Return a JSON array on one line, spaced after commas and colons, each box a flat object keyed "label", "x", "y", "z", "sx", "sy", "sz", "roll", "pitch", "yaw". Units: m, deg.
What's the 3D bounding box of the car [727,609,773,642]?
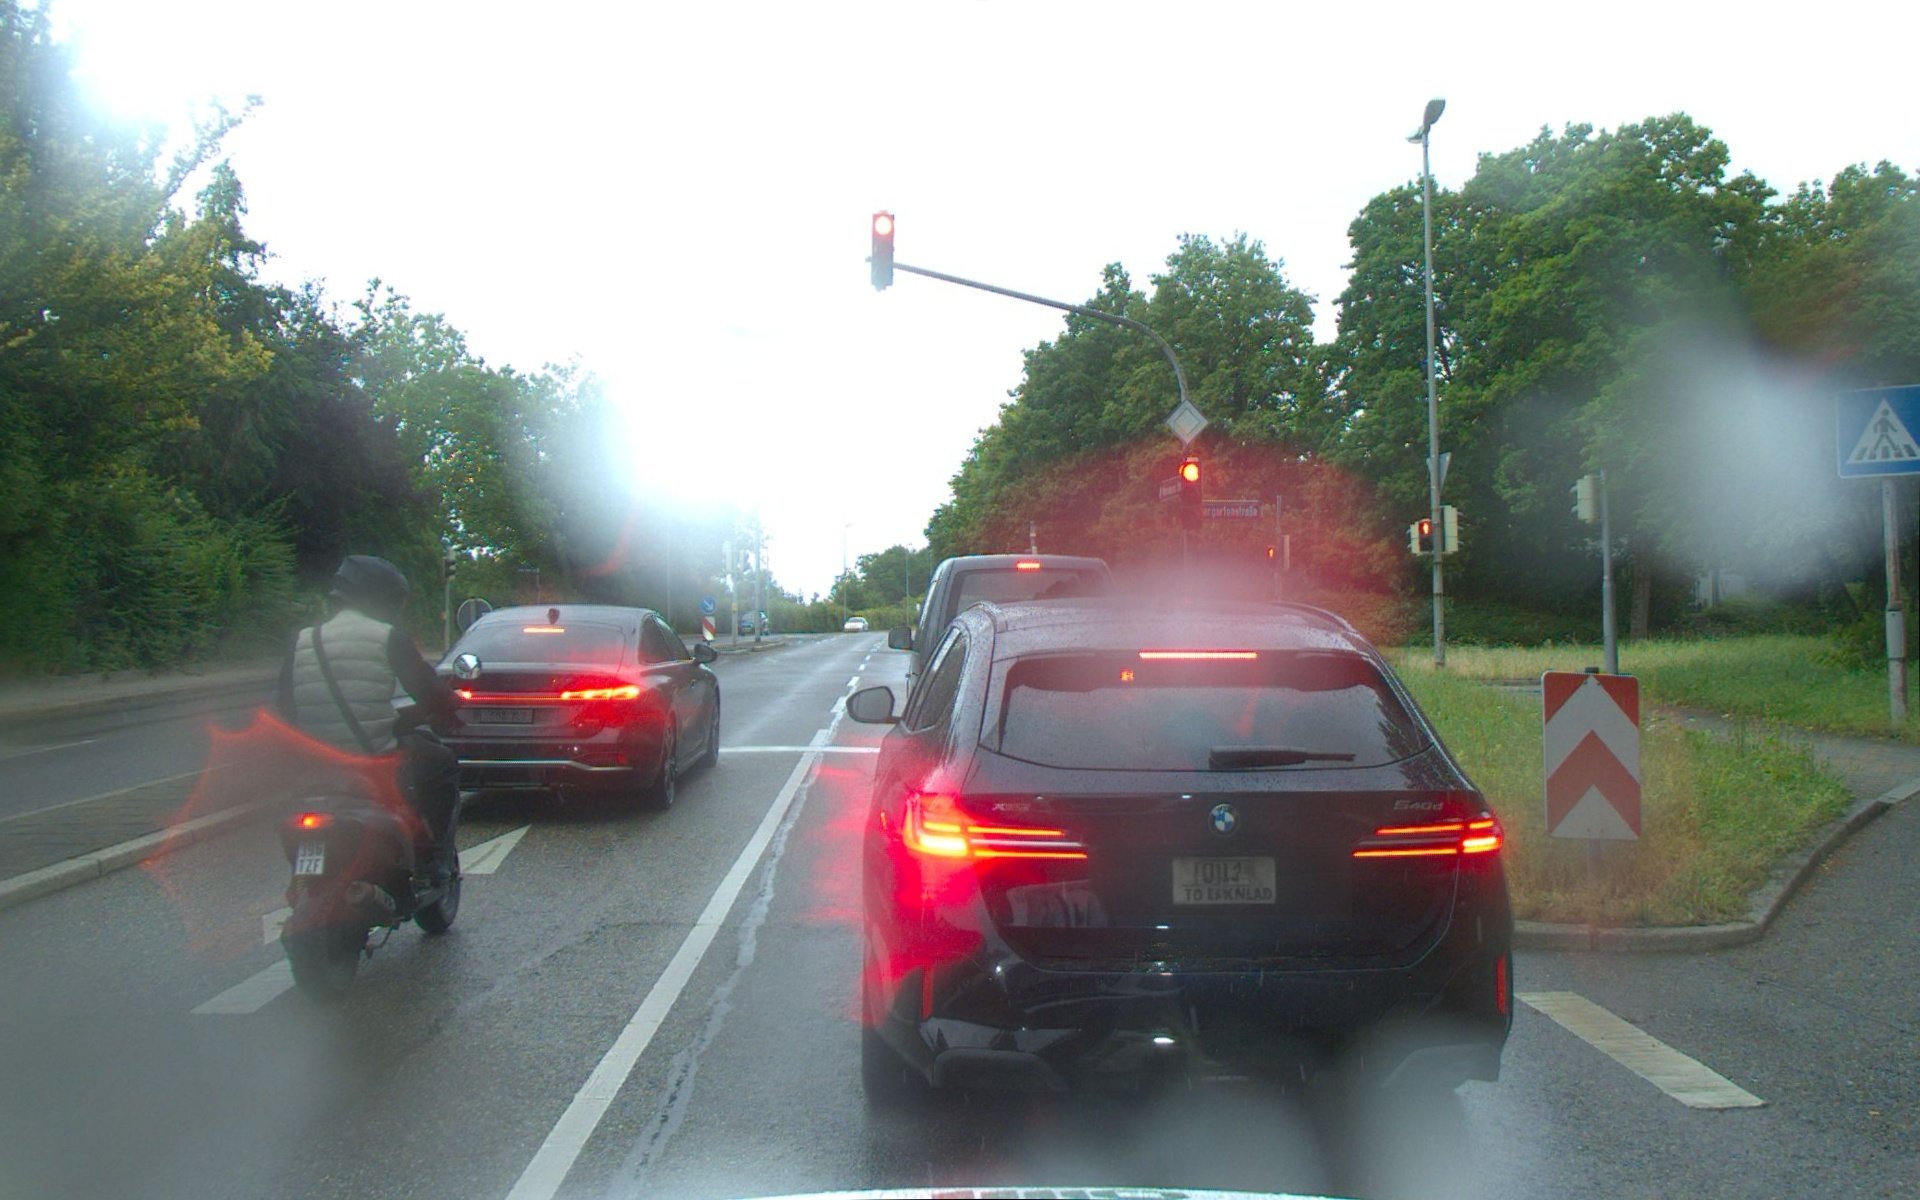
[{"label": "car", "x": -12.418, "y": 1.481, "z": 97.963, "sx": 1.952, "sy": 1.858, "sz": 4.001, "roll": -2, "pitch": -1, "yaw": 3}]

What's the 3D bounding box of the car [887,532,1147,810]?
[{"label": "car", "x": 0.385, "y": 0.502, "z": 13.346, "sx": 1.781, "sy": 1.901, "sz": 3.952, "roll": 0, "pitch": 0, "yaw": 0}]

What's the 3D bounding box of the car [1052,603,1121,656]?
[{"label": "car", "x": 3.973, "y": 0.913, "z": 52.462, "sx": 1.835, "sy": 1.569, "sz": 3.952, "roll": -2, "pitch": 0, "yaw": 0}]

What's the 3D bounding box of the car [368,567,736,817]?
[{"label": "car", "x": -2.964, "y": 0.619, "z": 13.014, "sx": 1.954, "sy": 1.554, "sz": 4.325, "roll": -2, "pitch": 0, "yaw": -3}]

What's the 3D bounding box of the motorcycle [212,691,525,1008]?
[{"label": "motorcycle", "x": -2.358, "y": 0.944, "z": 6.826, "sx": 0.677, "sy": 1.071, "sz": 1.747, "roll": -1, "pitch": -2, "yaw": -1}]

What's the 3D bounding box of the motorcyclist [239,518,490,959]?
[{"label": "motorcyclist", "x": -2.380, "y": 0.533, "z": 6.677, "sx": 0.749, "sy": 1.671, "sz": 0.674, "roll": -1, "pitch": -1, "yaw": -2}]

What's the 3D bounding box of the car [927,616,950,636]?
[{"label": "car", "x": -1.636, "y": 1.955, "z": 124.993, "sx": 1.663, "sy": 1.452, "sz": 3.513, "roll": -1, "pitch": 0, "yaw": 0}]

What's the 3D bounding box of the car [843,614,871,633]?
[{"label": "car", "x": -9.564, "y": 2.171, "z": 153.987, "sx": 1.951, "sy": 1.639, "sz": 3.674, "roll": -2, "pitch": -1, "yaw": 6}]

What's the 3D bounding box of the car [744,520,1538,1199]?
[{"label": "car", "x": 0.532, "y": 0.646, "z": 6.214, "sx": 1.858, "sy": 1.578, "sz": 4.616, "roll": 0, "pitch": -1, "yaw": 3}]
